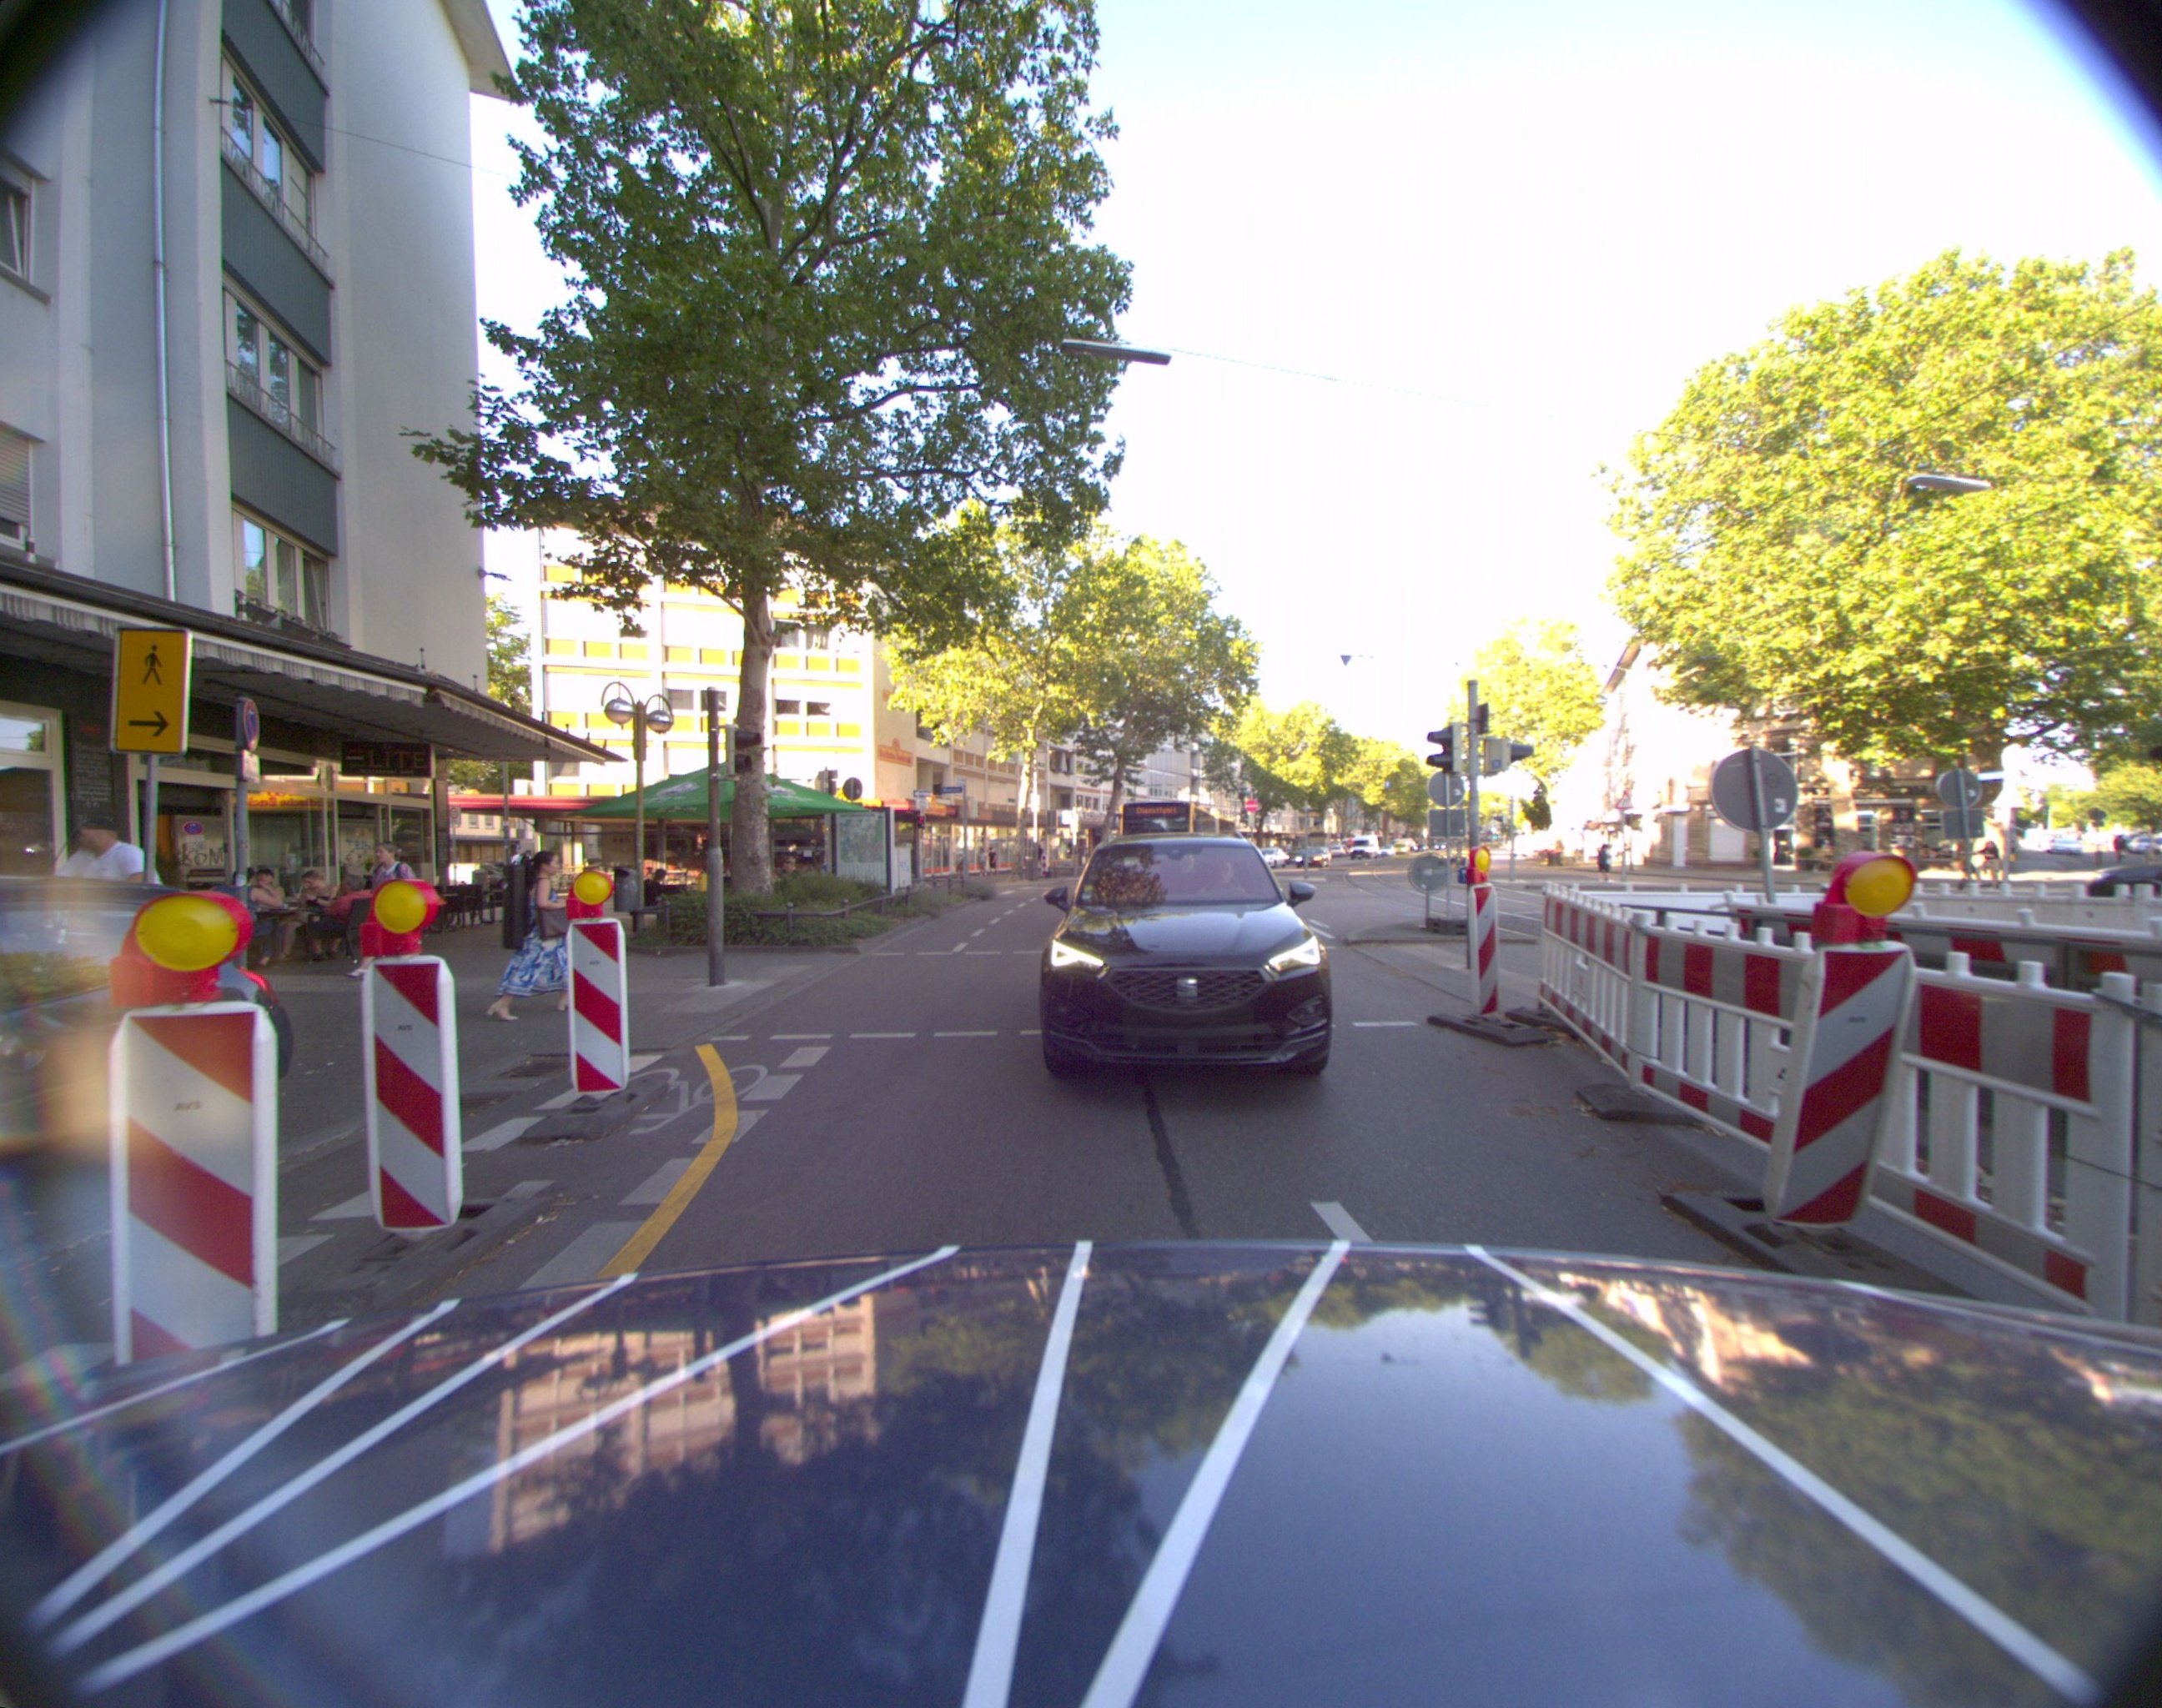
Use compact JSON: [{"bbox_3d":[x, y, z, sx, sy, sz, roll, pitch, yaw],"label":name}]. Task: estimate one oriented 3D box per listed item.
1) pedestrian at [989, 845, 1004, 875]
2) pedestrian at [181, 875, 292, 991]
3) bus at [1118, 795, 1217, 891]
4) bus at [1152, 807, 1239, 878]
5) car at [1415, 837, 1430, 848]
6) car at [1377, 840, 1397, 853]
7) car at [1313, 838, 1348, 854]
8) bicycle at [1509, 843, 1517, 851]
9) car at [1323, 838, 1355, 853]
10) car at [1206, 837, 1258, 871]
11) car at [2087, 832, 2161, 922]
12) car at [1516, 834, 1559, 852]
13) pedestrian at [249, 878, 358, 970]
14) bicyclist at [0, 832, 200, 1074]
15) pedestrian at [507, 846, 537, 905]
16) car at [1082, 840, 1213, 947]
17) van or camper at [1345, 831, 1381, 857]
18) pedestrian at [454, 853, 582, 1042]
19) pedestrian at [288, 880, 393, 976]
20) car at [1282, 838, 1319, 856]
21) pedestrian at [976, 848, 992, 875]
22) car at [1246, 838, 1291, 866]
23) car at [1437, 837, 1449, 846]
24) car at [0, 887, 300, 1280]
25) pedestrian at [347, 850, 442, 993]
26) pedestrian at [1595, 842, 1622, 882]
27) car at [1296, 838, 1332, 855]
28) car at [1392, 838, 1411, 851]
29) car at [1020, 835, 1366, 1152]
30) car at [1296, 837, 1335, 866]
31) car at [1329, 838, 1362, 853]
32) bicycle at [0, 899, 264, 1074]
[{"bbox_3d":[-4.550,0.328,41.060,0.627,1.577,0.532,0,1,20],"label":"pedestrian"},{"bbox_3d":[-10.225,0.918,9.212,0.789,1.299,0.701,0,1,28],"label":"pedestrian"},{"bbox_3d":[3.552,-0.405,29.064,2.718,3.088,8.629,0,1,13],"label":"bus"},{"bbox_3d":[5.857,-0.576,37.502,2.717,3.088,8.608,0,1,19],"label":"bus"},{"bbox_3d":[57.274,-1.948,127.411,1.836,1.792,4.138,0,1,31],"label":"car"},{"bbox_3d":[37.792,-0.929,93.711,1.700,1.462,3.771,0,1,31],"label":"car"},{"bbox_3d":[32.520,-1.064,99.218,3.994,2.002,2.001,0,1,8],"label":"car"},{"bbox_3d":[71.014,-1.161,124.897,0.850,1.186,2.470,0,1,25],"label":"bicycle"},{"bbox_3d":[36.704,-1.238,108.277,3.994,2.002,2.001,0,1,8],"label":"car"},{"bbox_3d":[9.332,-0.053,46.715,1.995,2.002,4.105,0,1,29],"label":"car"},{"bbox_3d":[20.916,0.422,12.672,2.001,1.652,4.553,-1,1,-12],"label":"car"},{"bbox_3d":[52.525,-1.272,87.499,4.001,2.002,1.997,-1,1,-13],"label":"car"},{"bbox_3d":[-10.716,0.950,10.503,0.647,1.186,0.792,0,1,7],"label":"pedestrian"},{"bbox_3d":[-8.078,0.736,6.160,0.753,1.816,0.925,1,2,-1],"label":"bicyclist"},{"bbox_3d":[-18.944,0.707,25.763,0.650,1.948,0.887,-2,2,-45],"label":"pedestrian"},{"bbox_3d":[1.059,0.581,13.721,1.998,1.634,4.075,-1,1,1],"label":"car"},{"bbox_3d":[30.812,-1.131,82.851,2.420,2.702,6.144,0,1,32],"label":"van or camper"},{"bbox_3d":[-5.177,0.820,7.032,0.583,1.637,0.796,2,1,-1],"label":"pedestrian"},{"bbox_3d":[-9.885,0.955,10.150,0.877,1.186,0.701,0,1,24],"label":"pedestrian"},{"bbox_3d":[24.775,-0.837,85.743,3.991,2.002,2.002,0,1,18],"label":"car"},{"bbox_3d":[-5.269,0.388,41.257,0.627,1.429,0.532,0,1,20],"label":"pedestrian"},{"bbox_3d":[13.829,-0.189,55.788,1.994,2.002,4.008,0,1,33],"label":"car"},{"bbox_3d":[73.141,-2.578,153.442,1.836,1.792,4.138,0,1,31],"label":"car"},{"bbox_3d":[-5.190,0.958,2.396,1.771,1.459,3.610,2,1,-2],"label":"car"},{"bbox_3d":[-8.104,0.769,8.993,0.629,1.628,0.531,-1,1,-15],"label":"pedestrian"},{"bbox_3d":[20.384,0.318,29.371,0.603,1.524,0.745,0,1,12],"label":"pedestrian"},{"bbox_3d":[28.524,-0.925,93.233,3.994,2.002,2.001,0,1,8],"label":"car"},{"bbox_3d":[44.628,-1.340,105.645,1.836,1.792,4.138,0,1,31],"label":"car"},{"bbox_3d":[0.634,0.727,6.072,1.841,1.696,3.999,-1,1,1],"label":"car"},{"bbox_3d":[16.695,-0.211,53.950,1.995,2.002,4.007,0,1,27],"label":"car"},{"bbox_3d":[36.116,-1.115,103.894,3.994,2.002,2.001,0,1,8],"label":"car"},{"bbox_3d":[-8.097,0.997,6.220,0.751,1.123,1.886,3,0,-1],"label":"bicycle"}]
